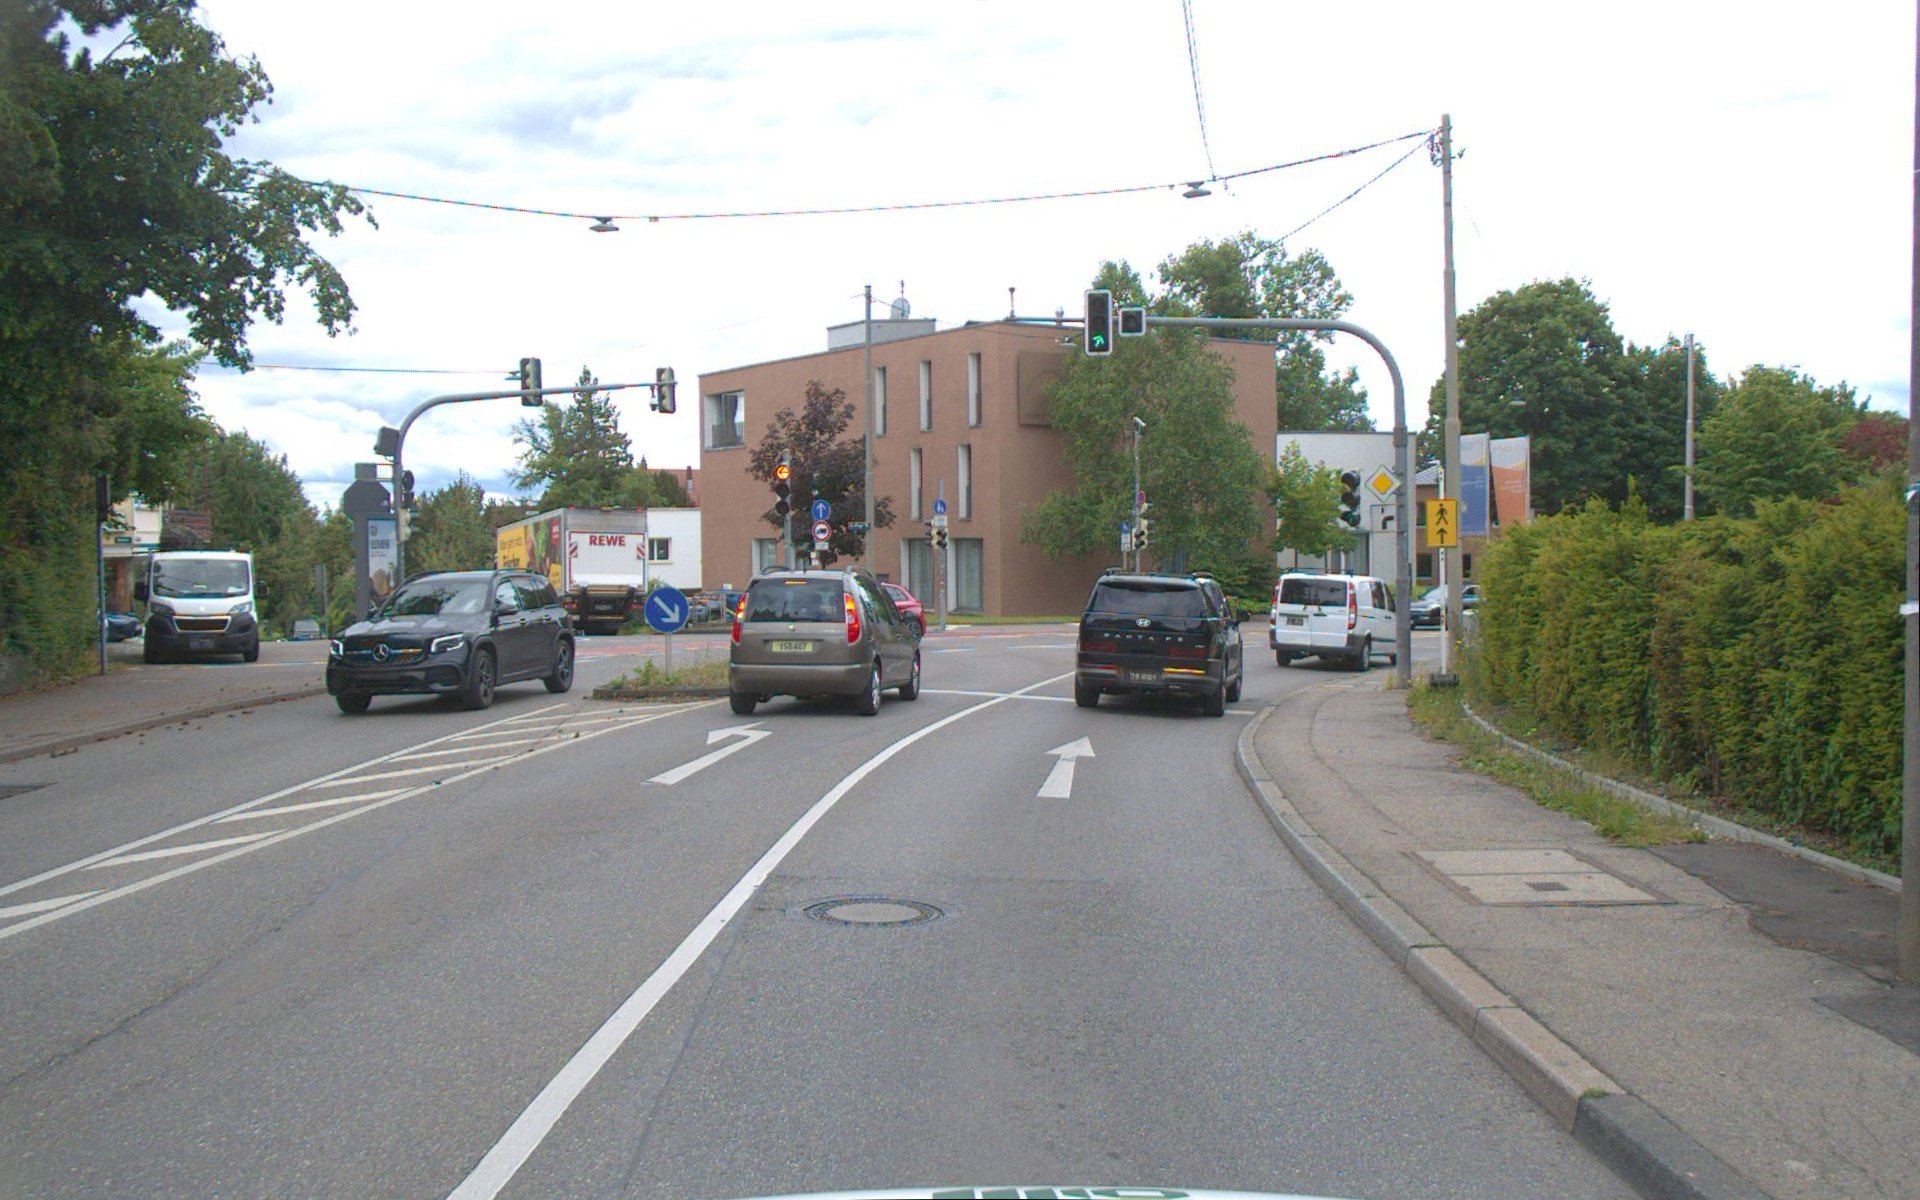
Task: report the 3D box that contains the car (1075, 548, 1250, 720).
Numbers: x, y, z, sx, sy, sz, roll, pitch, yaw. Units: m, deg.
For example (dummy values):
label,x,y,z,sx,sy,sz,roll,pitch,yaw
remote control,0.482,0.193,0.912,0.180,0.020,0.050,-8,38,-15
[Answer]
label,x,y,z,sx,sy,sz,roll,pitch,yaw
car,2.641,0.371,21.657,1.951,1.914,4.003,4,1,7

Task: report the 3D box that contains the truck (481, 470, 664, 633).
label,x,y,z,sx,sy,sz,roll,pitch,yaw
truck,-13.076,-1.537,54.766,3.089,4.817,11.687,-1,1,-28

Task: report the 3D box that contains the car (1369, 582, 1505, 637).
label,x,y,z,sx,sy,sz,roll,pitch,yaw
car,15.530,0.271,53.709,4.740,1.687,1.971,-1,1,-40

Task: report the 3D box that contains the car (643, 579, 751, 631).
label,x,y,z,sx,sy,sz,roll,pitch,yaw
car,-10.905,0.163,68.615,3.947,2.049,1.979,-1,1,-31

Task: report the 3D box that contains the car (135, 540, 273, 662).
label,x,y,z,sx,sy,sz,roll,pitch,yaw
car,-15.449,-0.028,34.113,2.249,2.266,6.428,-1,1,-22

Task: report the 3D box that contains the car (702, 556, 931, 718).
label,x,y,z,sx,sy,sz,roll,pitch,yaw
car,-1.595,0.374,19.831,1.853,1.735,4.004,-1,1,8

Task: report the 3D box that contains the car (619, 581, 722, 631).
label,x,y,z,sx,sy,sz,roll,pitch,yaw
car,-12.447,0.237,71.244,3.948,2.049,1.978,-1,1,-32

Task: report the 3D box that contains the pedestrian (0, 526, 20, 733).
label,x,y,z,sx,sy,sz,roll,pitch,yaw
pedestrian,-9.888,0.291,16.466,0.696,2.049,1.018,0,1,-18

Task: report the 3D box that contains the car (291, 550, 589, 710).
label,x,y,z,sx,sy,sz,roll,pitch,yaw
car,-6.460,0.320,21.162,1.951,1.829,4.524,0,1,6

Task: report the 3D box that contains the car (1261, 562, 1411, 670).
label,x,y,z,sx,sy,sz,roll,pitch,yaw
car,7.957,0.263,34.690,1.924,2.048,4.422,3,2,28

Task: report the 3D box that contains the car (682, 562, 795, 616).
label,x,y,z,sx,sy,sz,roll,pitch,yaw
car,-8.694,-0.443,64.912,3.946,2.049,1.980,-1,1,-31

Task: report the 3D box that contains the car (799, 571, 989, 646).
label,x,y,z,sx,sy,sz,roll,pitch,yaw
car,-1.434,0.150,37.137,1.963,1.591,4.195,0,1,40

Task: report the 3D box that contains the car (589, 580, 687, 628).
label,x,y,z,sx,sy,sz,roll,pitch,yaw
car,-14.694,0.148,75.396,3.947,2.048,1.979,-2,1,-31
